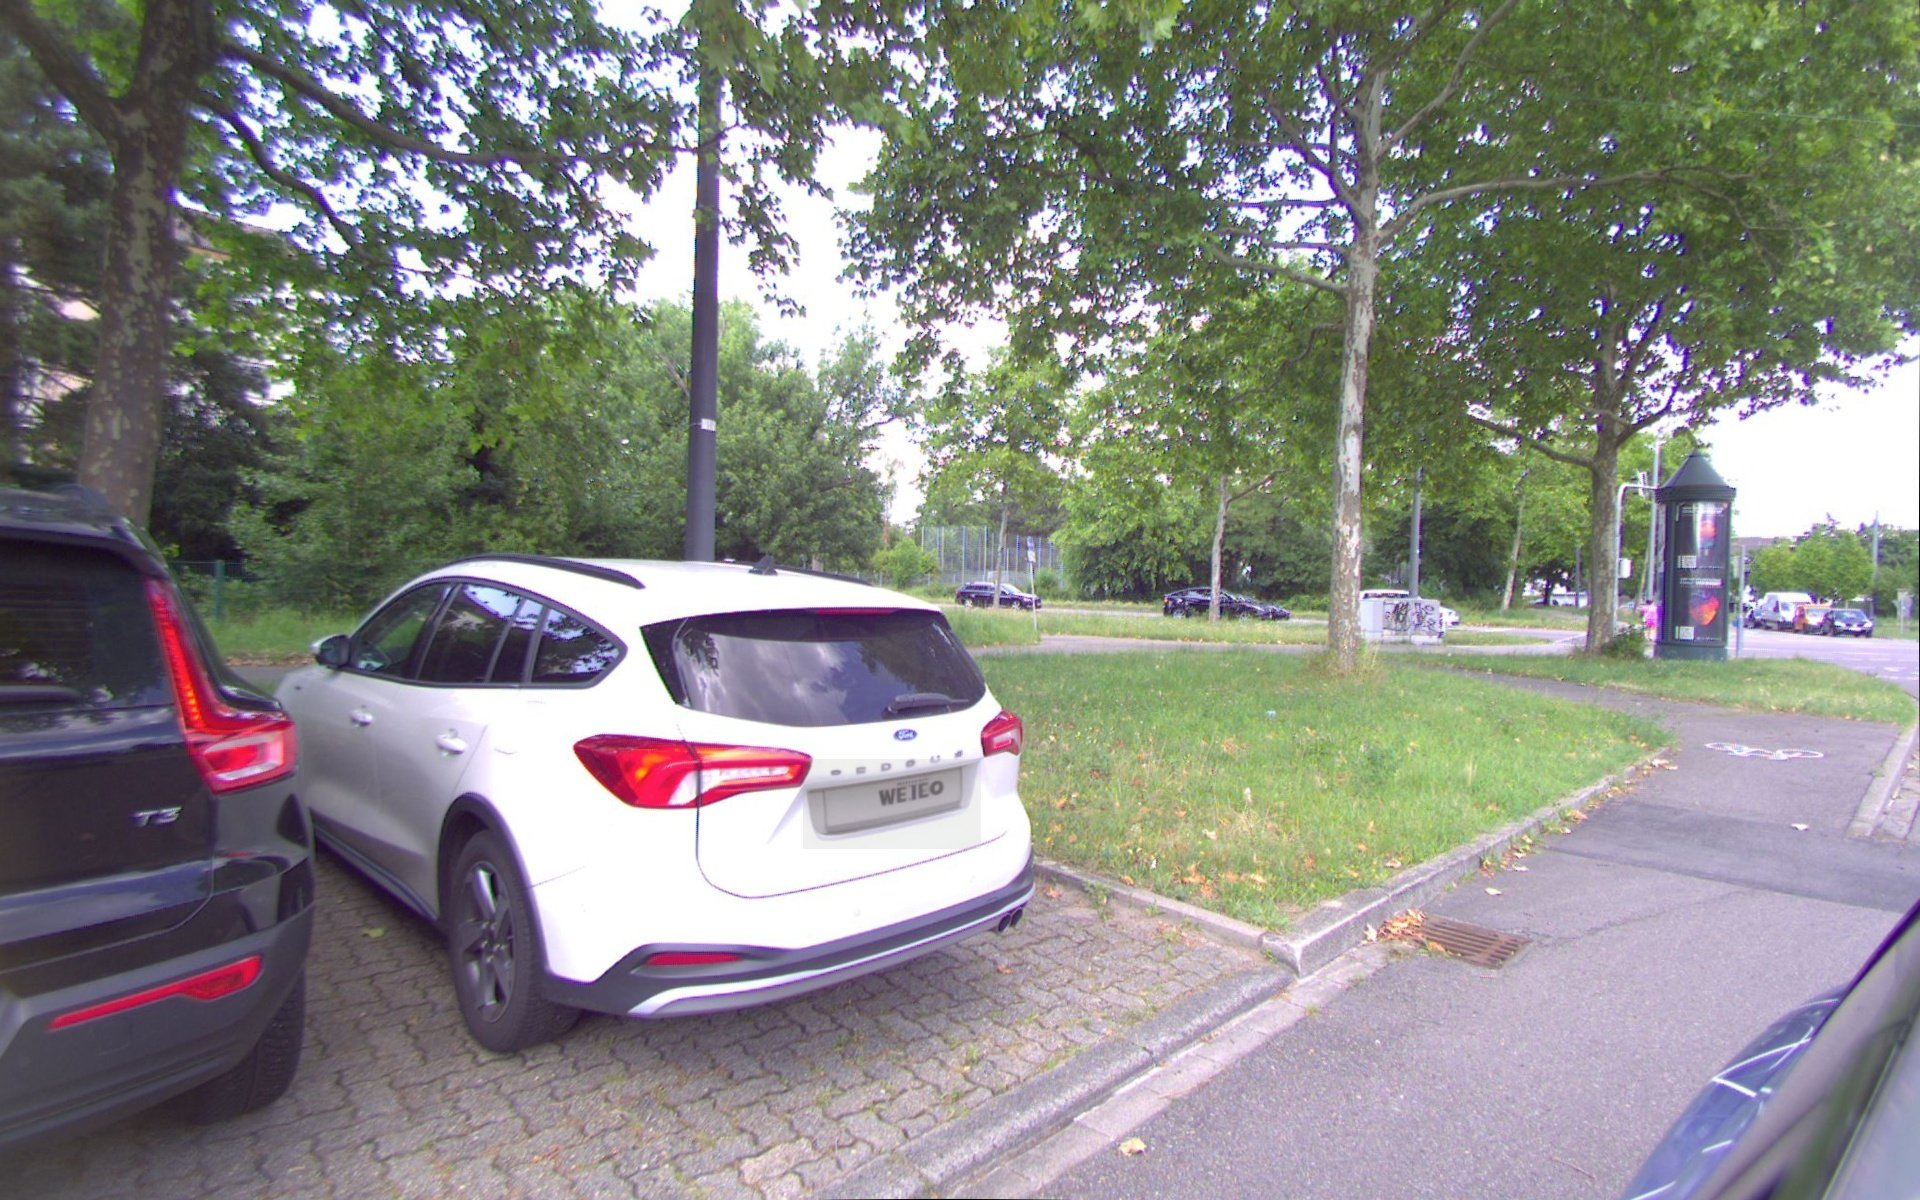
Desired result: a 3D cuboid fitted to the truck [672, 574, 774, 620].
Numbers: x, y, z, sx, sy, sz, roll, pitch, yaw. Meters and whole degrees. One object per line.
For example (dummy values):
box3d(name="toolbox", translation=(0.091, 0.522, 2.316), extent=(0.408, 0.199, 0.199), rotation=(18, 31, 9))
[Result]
box3d(name="truck", translation=(-14.965, -0.218, 63.863), extent=(6.452, 2.628, 2.194), rotation=(2, 1, 29))

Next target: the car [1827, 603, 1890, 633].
box3d(name="car", translation=(50.328, 0.964, 56.760), extent=(1.781, 1.558, 3.959), rotation=(1, 1, 29))

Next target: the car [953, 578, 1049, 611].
box3d(name="car", translation=(2.133, -0.319, 53.084), extent=(4.644, 1.532, 1.981), rotation=(2, 2, 28))

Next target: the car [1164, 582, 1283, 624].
box3d(name="car", translation=(11.378, 0.091, 43.758), extent=(4.645, 1.630, 1.980), rotation=(2, 2, 29))

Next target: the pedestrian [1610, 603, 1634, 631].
box3d(name="pedestrian", translation=(25.487, 0.653, 38.943), extent=(0.718, 1.047, 0.890), rotation=(2, 1, 35))

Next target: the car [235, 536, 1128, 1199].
box3d(name="car", translation=(-1.708, 0.514, 4.594), extent=(4.661, 1.492, 1.818), rotation=(4, 2, 45))

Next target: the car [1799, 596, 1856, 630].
box3d(name="car", translation=(53.159, 0.744, 62.098), extent=(1.780, 1.959, 4.325), rotation=(1, 1, 29))

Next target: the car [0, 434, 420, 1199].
box3d(name="car", translation=(-3.431, 0.434, 3.119), extent=(4.661, 1.646, 1.818), rotation=(4, 2, 45))

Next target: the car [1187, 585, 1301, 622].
box3d(name="car", translation=(13.051, 0.140, 46.561), extent=(4.706, 1.487, 1.981), rotation=(2, 2, 28))

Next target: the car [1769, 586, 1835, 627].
box3d(name="car", translation=(56.291, 0.404, 67.772), extent=(2.219, 2.538, 5.670), rotation=(1, 1, 28))

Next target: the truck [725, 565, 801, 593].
box3d(name="truck", translation=(-15.216, -1.633, 78.091), extent=(5.813, 2.038, 2.266), rotation=(2, 1, 33))

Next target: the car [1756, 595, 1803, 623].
box3d(name="car", translation=(58.927, 0.608, 72.801), extent=(1.780, 1.959, 4.326), rotation=(1, 1, 28))

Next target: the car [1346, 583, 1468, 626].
box3d(name="car", translation=(19.238, 0.157, 43.584), extent=(4.644, 1.630, 1.981), rotation=(2, 2, 28))
